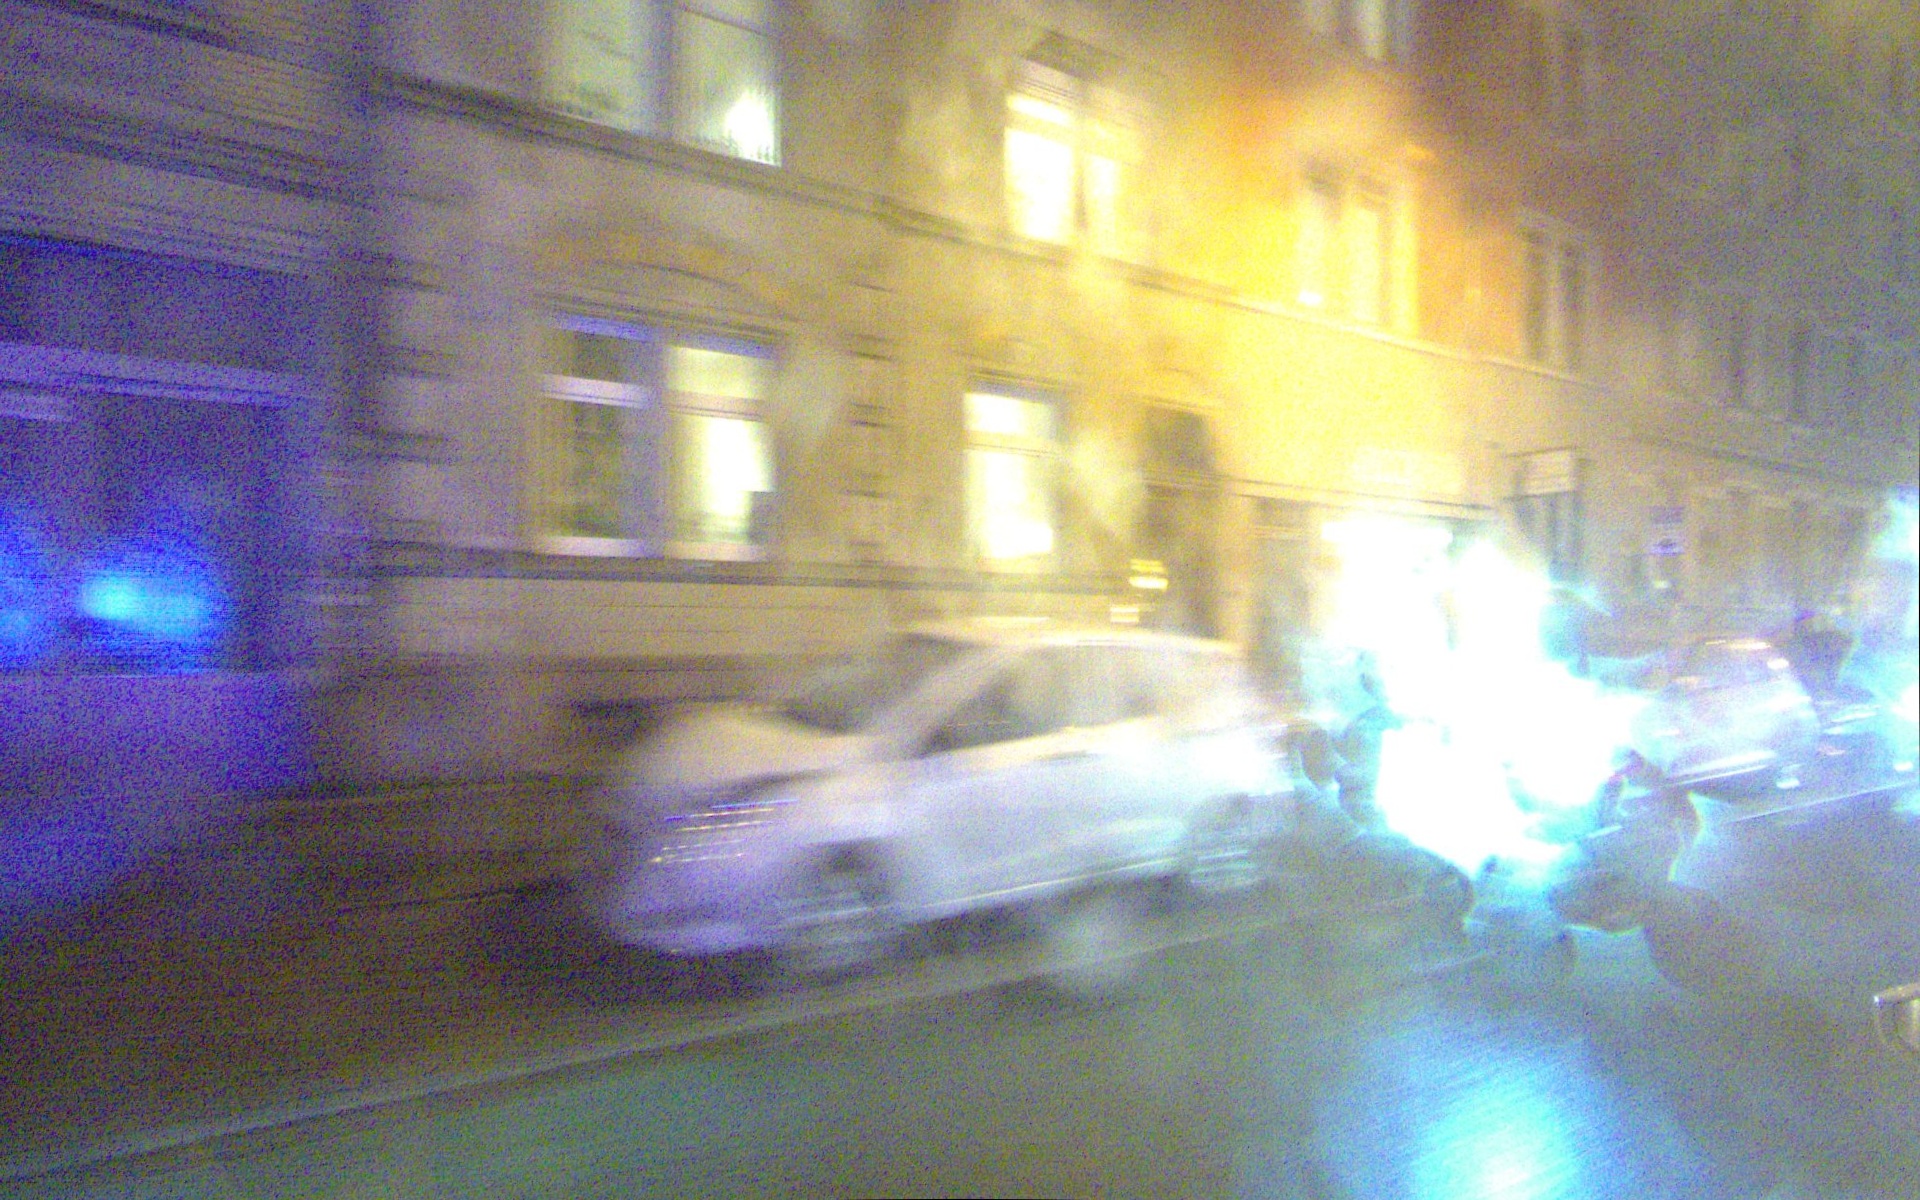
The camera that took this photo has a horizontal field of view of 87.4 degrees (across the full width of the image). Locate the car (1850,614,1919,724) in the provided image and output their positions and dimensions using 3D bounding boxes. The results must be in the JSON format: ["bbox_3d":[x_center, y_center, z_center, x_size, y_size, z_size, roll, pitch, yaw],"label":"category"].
[{"bbox_3d":[14.958,0.969,14.598,4.256,1.500,1.824,1,-1,-31],"label":"car"}]

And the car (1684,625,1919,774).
[{"bbox_3d":[10.391,1.004,11.514,4.374,1.408,1.813,1,-1,-31],"label":"car"}]

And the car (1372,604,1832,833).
[{"bbox_3d":[5.699,0.875,8.822,4.086,1.593,1.766,1,-1,-31],"label":"car"}]

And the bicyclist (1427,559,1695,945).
[{"bbox_3d":[2.771,0.637,4.654,0.885,1.576,0.715,1,-2,-30],"label":"bicyclist"}]

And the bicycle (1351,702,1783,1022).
[{"bbox_3d":[2.912,1.085,4.725,2.321,1.087,0.724,1,-2,-31],"label":"bicycle"}]

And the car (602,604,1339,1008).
[{"bbox_3d":[0.136,0.808,5.446,3.678,1.511,1.664,1,0,-31],"label":"car"}]
